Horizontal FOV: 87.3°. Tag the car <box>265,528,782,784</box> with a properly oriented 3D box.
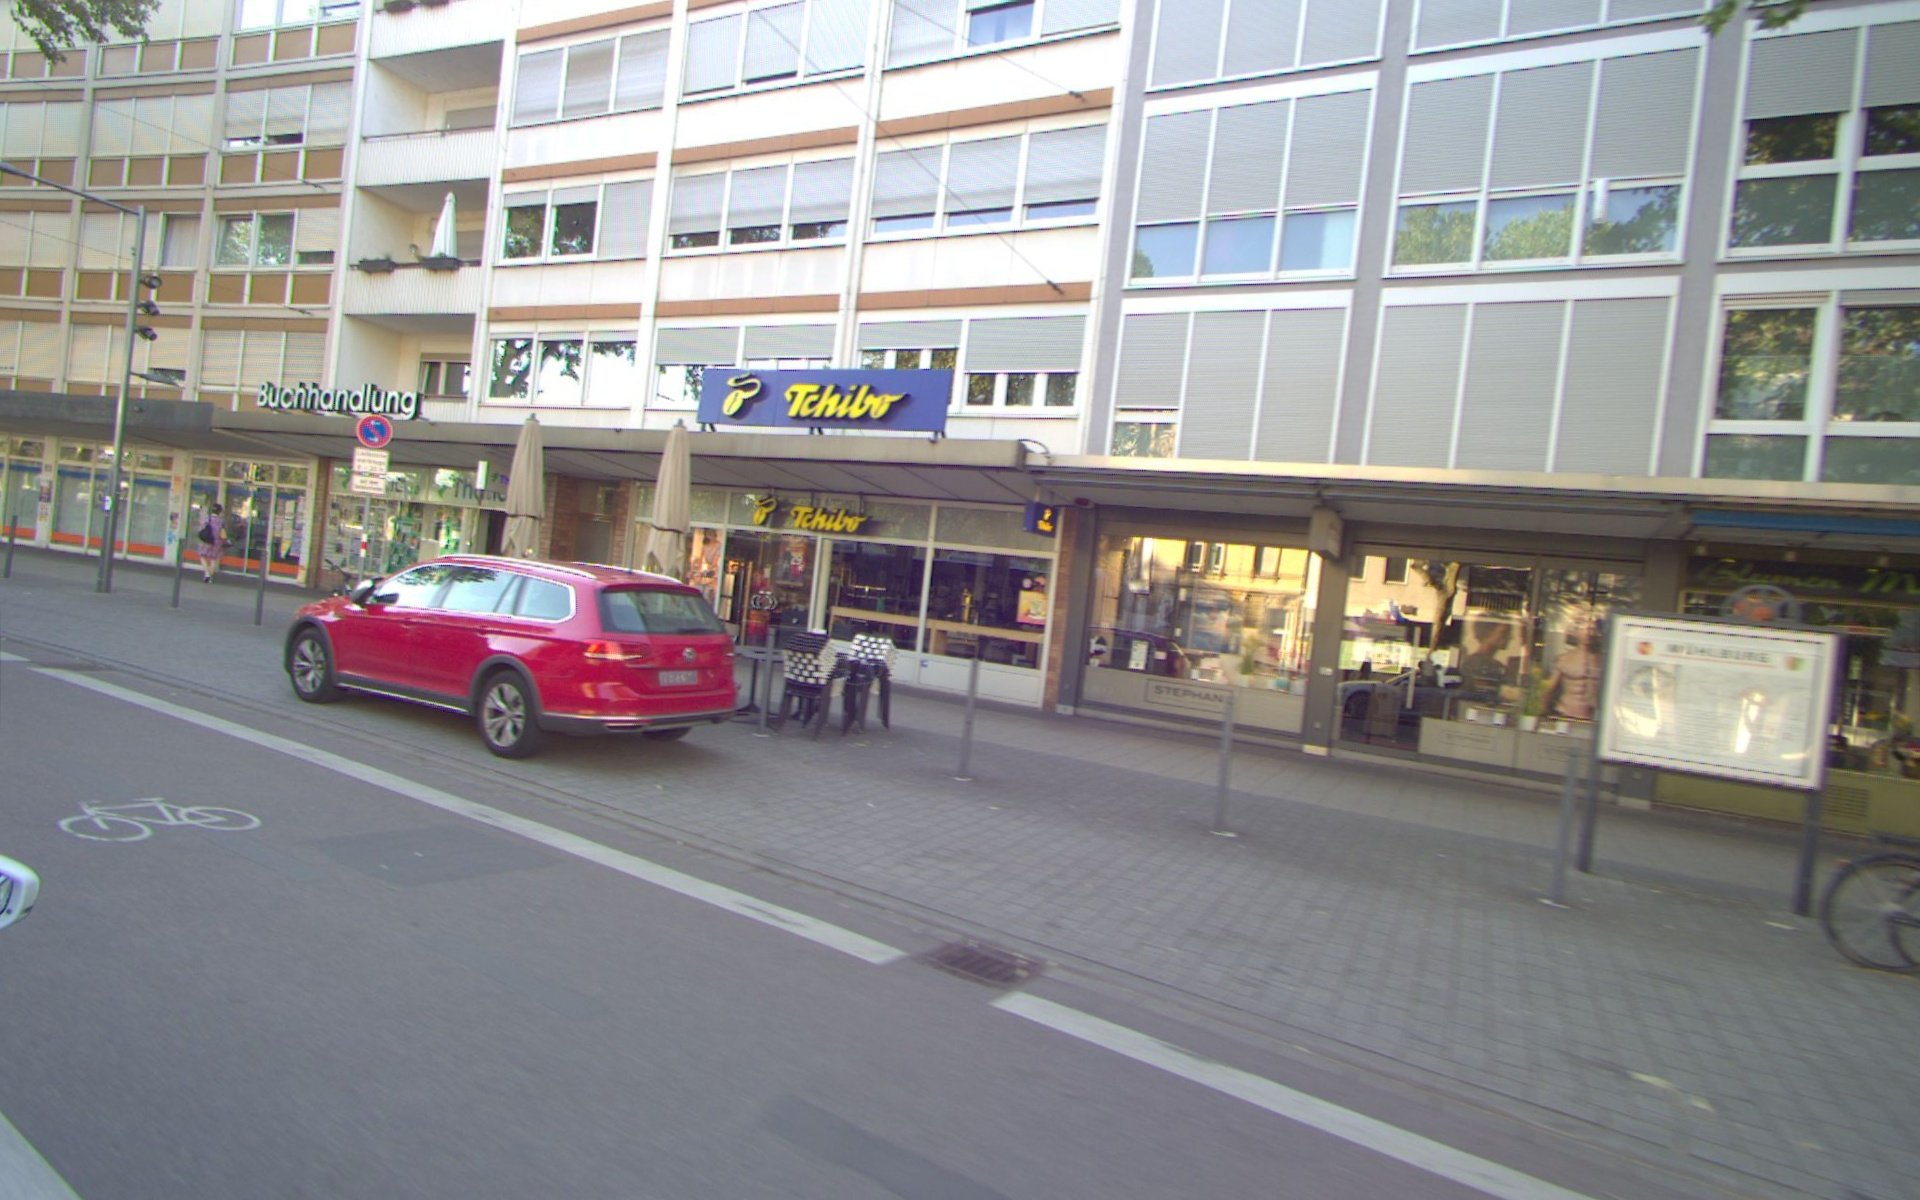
[{"bbox_3d":[-3.968,0.349,8.947,4.489,1.516,1.780,7,2,29],"label":"car"}]

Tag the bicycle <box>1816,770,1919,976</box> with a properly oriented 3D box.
[{"bbox_3d":[6.175,1.706,5.872,1.686,1.116,0.294,7,4,19],"label":"bicycle"}]

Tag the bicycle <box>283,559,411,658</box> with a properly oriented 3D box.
[{"bbox_3d":[-7.955,0.094,13.047,1.631,1.085,0.512,7,3,23],"label":"bicycle"}]

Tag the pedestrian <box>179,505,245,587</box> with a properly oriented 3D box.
[{"bbox_3d":[-15.420,-1.109,20.736,0.793,1.571,0.641,7,1,19],"label":"pedestrian"}]

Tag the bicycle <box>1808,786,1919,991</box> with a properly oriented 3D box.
[{"bbox_3d":[5.937,1.734,5.654,1.686,1.055,0.294,7,4,19],"label":"bicycle"}]
